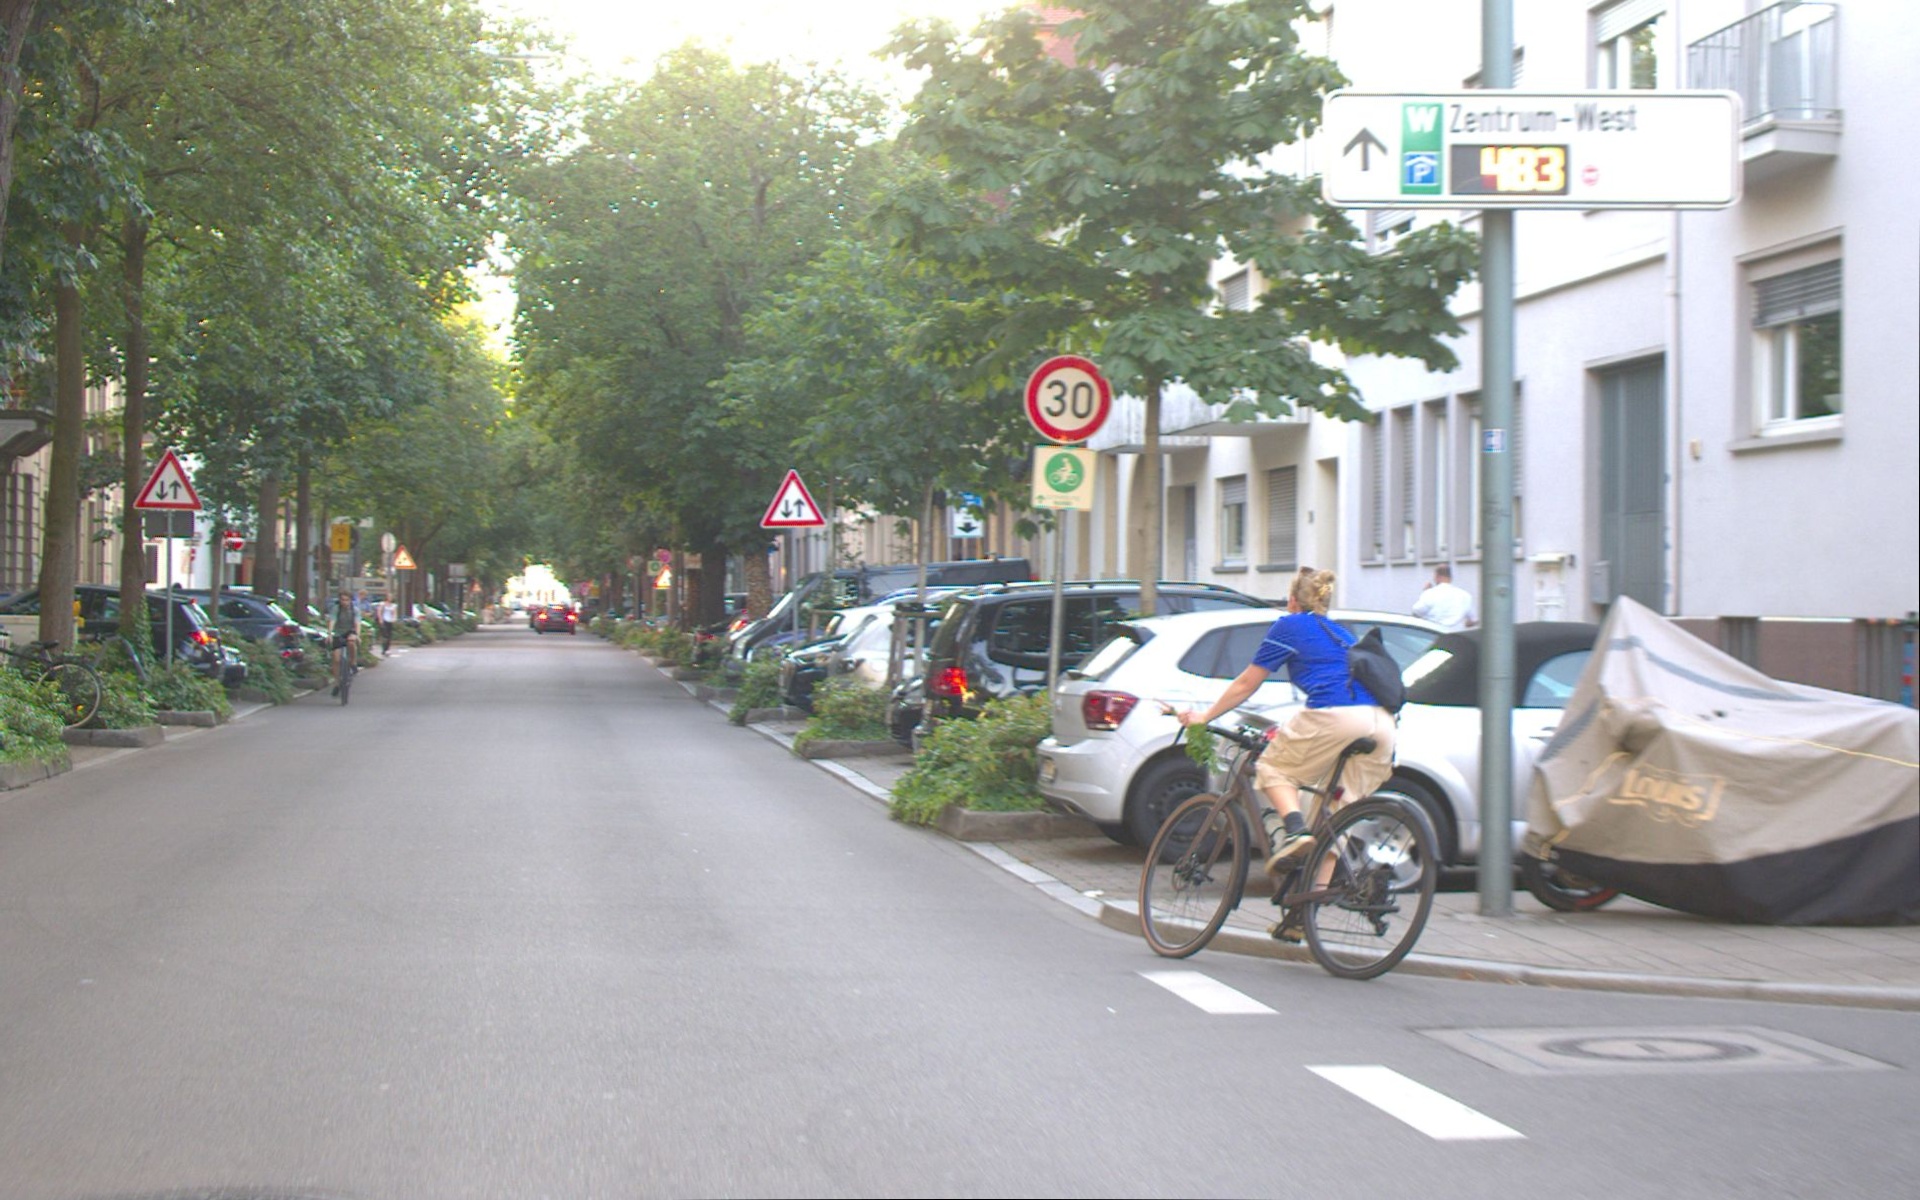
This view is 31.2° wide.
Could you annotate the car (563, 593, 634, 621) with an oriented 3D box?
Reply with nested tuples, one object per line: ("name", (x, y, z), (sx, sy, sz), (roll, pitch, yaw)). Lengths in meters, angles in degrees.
("car", (-22.059, 0.421, 209.825), (4.267, 1.560, 1.963), (-1, -1, -7))

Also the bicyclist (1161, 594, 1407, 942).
("bicyclist", (1.305, 0.675, 13.928), (0.672, 1.359, 0.776), (2, -2, -25))

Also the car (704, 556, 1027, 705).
("car", (-1.485, 0.454, 52.976), (4.688, 2.004, 2.038), (-3, 0, -7))

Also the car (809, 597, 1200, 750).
("car", (0.450, 0.788, 37.827), (4.073, 1.424, 1.818), (-3, 0, -5))

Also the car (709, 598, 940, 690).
("car", (-2.509, 0.795, 62.998), (3.986, 1.433, 1.927), (-3, 0, -8))

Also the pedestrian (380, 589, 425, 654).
("pedestrian", (-14.391, 0.543, 88.693), (0.830, 1.665, 0.796), (-1, 0, 28))

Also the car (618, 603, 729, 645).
("car", (-10.426, 0.866, 125.044), (3.875, 1.435, 1.848), (-1, 0, -10))

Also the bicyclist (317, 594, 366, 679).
("bicyclist", (-9.225, 0.535, 51.282), (0.672, 1.259, 0.648), (0, 0, -7))

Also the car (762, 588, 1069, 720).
("car", (-0.642, 0.732, 47.537), (3.964, 1.573, 1.852), (-3, 0, -8))

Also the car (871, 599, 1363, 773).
("car", (1.421, 0.773, 32.060), (4.314, 1.491, 1.794), (-1, 0, -8))

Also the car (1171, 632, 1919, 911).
("car", (3.182, 0.847, 17.681), (3.986, 1.328, 1.794), (0, 0, -4))

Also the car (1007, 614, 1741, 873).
("car", (2.368, 0.811, 20.266), (3.986, 1.433, 1.794), (0, 0, -6))

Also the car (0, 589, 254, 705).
("car", (-12.222, 0.651, 49.091), (3.964, 1.382, 1.765), (4, 0, -6))

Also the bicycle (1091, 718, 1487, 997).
("bicycle", (1.292, 1.006, 13.924), (0.672, 1.027, 1.977), (2, -2, -25))

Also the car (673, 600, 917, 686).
("car", (-3.157, 0.806, 65.378), (4.399, 1.389, 1.886), (-3, 0, -9))

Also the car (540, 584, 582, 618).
("car", (-19.450, 0.054, 167.560), (1.956, 1.560, 4.283), (-1, 0, -7))

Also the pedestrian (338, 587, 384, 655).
("pedestrian", (-15.390, 0.535, 88.364), (0.830, 1.731, 0.796), (-1, 0, 28))

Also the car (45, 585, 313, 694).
("car", (-13.188, 0.658, 58.267), (4.200, 1.666, 1.908), (2, 0, -7))

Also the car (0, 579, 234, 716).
("car", (-11.851, 0.584, 45.886), (3.964, 1.591, 1.781), (4, -1, -7))

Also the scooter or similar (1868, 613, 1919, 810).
("scooter or similar", (6.261, 0.708, 22.458), (0.345, 1.235, 1.420), (0, 0, 3))

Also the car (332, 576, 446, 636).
("car", (-24.227, 0.254, 145.981), (4.681, 2.469, 2.000), (1, -1, -7))

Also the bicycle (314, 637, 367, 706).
("bicycle", (-9.225, 1.057, 51.242), (0.672, 0.990, 1.759), (0, 0, -7))

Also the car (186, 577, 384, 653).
("car", (-16.119, 0.347, 82.265), (4.425, 1.645, 1.873), (2, 0, -6))

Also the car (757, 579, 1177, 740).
("car", (0.037, 0.674, 40.057), (4.589, 1.573, 1.944), (-3, 0, -8))

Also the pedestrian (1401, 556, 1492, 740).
("pedestrian", (4.800, 0.467, 33.954), (0.697, 1.789, 0.881), (0, 0, -6))

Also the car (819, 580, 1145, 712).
("car", (0.246, 0.559, 42.929), (3.792, 1.418, 1.698), (-3, 0, -8))

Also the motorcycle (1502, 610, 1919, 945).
("motorcycle", (3.329, 0.740, 14.818), (1.908, 1.387, 0.999), (0, 0, 6))

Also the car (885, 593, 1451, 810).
("car", (1.554, 0.760, 26.693), (4.109, 1.612, 1.961), (0, 0, -6))

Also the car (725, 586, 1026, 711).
("car", (-1.271, 0.697, 50.594), (4.154, 1.573, 1.970), (-3, 0, -8))

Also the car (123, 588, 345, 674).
("car", (-13.730, 0.583, 65.168), (3.944, 1.527, 1.908), (1, -1, -7))

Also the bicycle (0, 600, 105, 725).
("bicycle", (-9.545, 0.620, 34.508), (1.771, 1.228, 0.500), (1, -1, -2))
